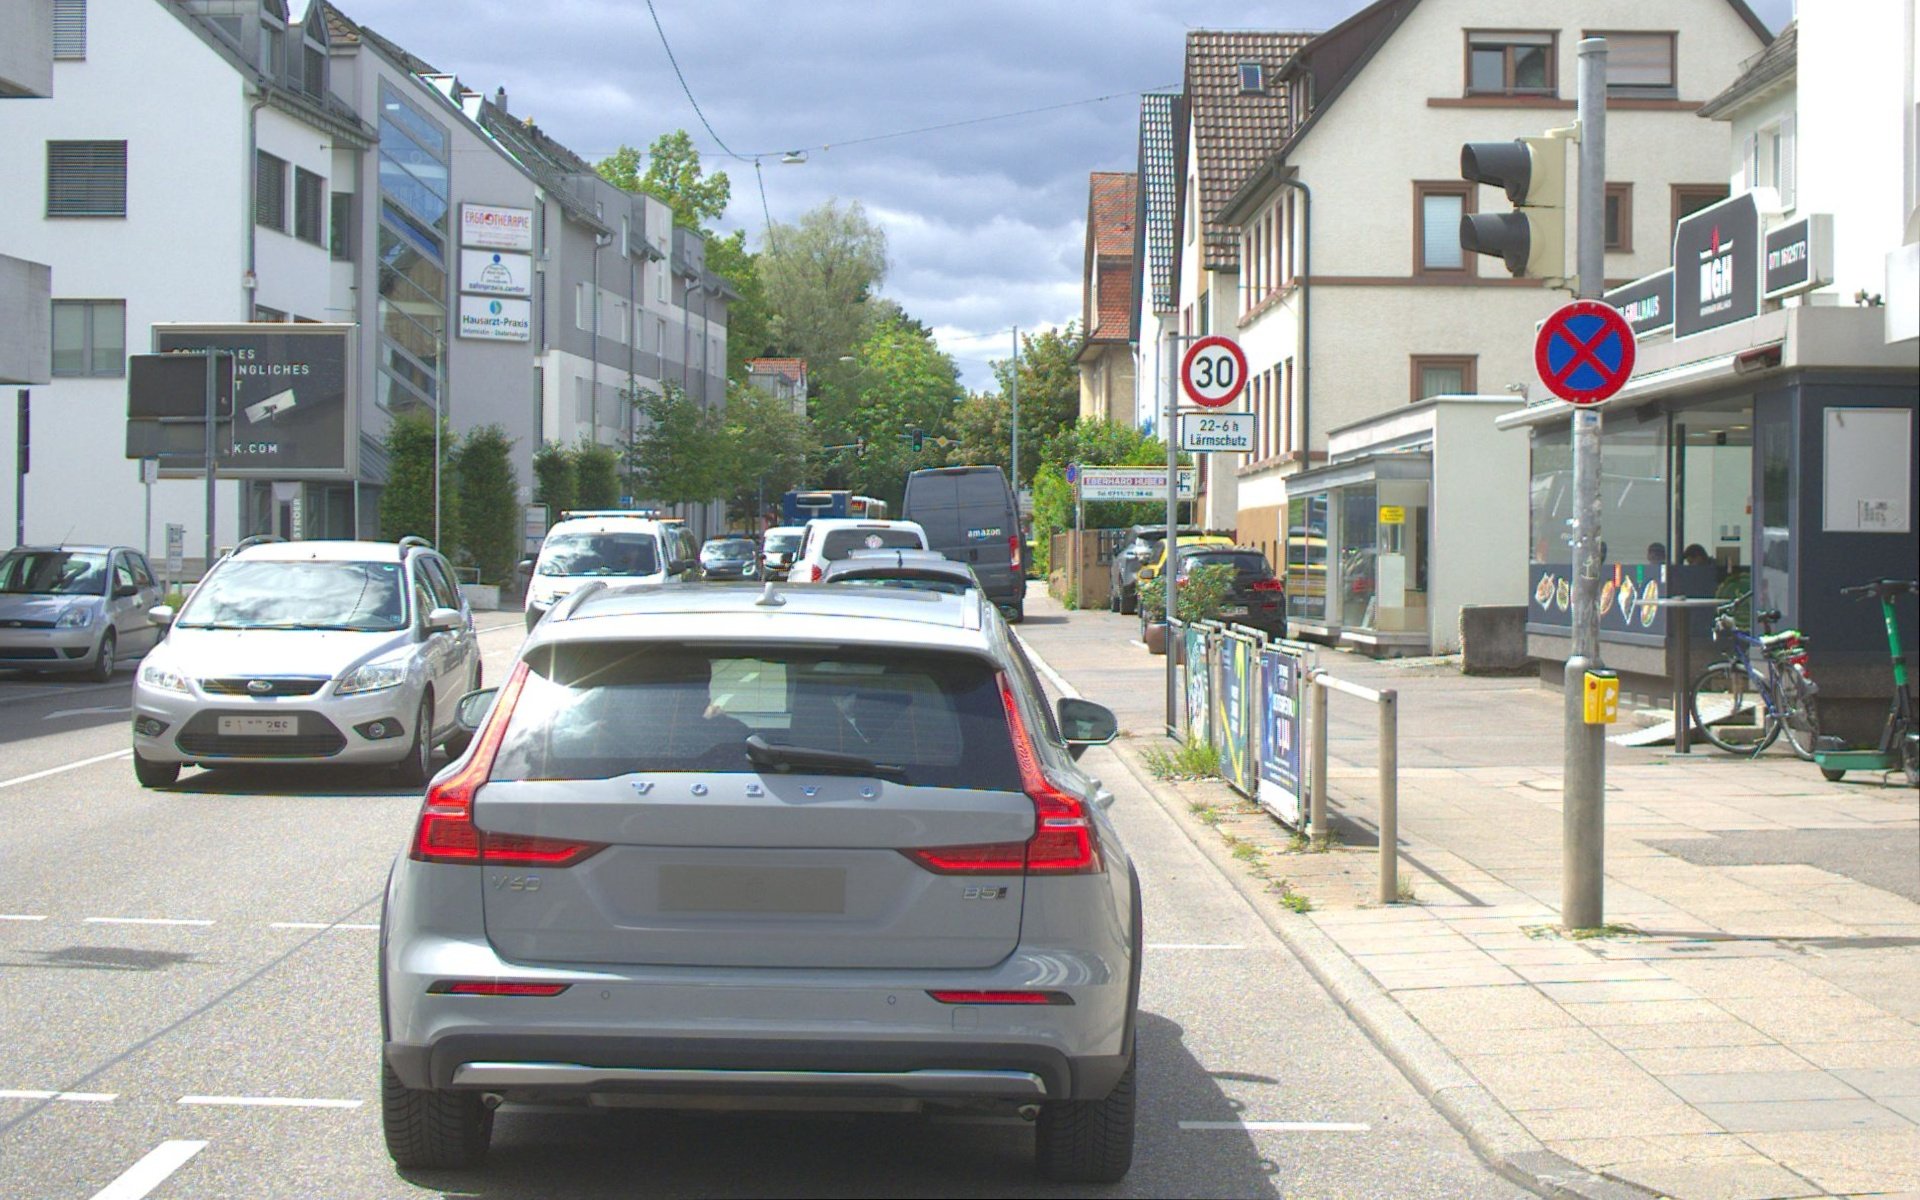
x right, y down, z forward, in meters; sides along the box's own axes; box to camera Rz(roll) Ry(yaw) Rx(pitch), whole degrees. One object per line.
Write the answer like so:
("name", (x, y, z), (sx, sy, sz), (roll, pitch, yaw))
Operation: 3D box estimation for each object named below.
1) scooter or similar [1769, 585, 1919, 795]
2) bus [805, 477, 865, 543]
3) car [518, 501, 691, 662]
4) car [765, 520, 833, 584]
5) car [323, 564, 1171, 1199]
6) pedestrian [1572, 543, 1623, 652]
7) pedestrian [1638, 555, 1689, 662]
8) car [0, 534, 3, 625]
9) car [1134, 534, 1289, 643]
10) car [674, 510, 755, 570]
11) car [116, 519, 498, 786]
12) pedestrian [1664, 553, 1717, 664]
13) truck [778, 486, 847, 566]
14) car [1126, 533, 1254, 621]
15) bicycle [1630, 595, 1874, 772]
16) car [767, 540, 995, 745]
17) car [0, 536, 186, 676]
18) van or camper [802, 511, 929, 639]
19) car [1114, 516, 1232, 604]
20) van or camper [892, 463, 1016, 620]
("scooter or similar", (5.560, 0.539, 21.238), (0.340, 1.249, 1.246), (-2, 1, -27))
("bus", (-5.215, -3.779, 144.258), (2.276, 2.659, 7.430), (0, 2, 0))
("car", (-4.489, -0.250, 43.885), (1.838, 1.911, 4.156), (1, 1, -1))
("car", (-4.792, -1.413, 102.802), (1.797, 1.810, 4.000), (1, 0, 0))
("car", (-0.515, 0.662, 9.514), (1.835, 1.481, 4.000), (1, 1, -1))
("pedestrian", (6.226, -0.028, 33.572), (0.414, 1.048, 0.368), (0, 1, -2))
("pedestrian", (6.952, 0.084, 33.983), (0.414, 1.048, 0.368), (0, 1, -2))
("car", (-9.996, 0.141, 31.471), (1.607, 1.538, 2.944), (2, 1, 0))
("car", (3.561, -0.146, 49.279), (1.710, 1.459, 4.000), (1, 0, -3))
("car", (-5.916, -1.471, 83.166), (1.762, 1.421, 4.001), (0, 2, -1))
("car", (-4.125, 0.268, 22.324), (1.668, 1.548, 4.215), (1, 1, 0))
("pedestrian", (6.999, 0.079, 32.933), (0.414, 1.048, 0.368), (0, 1, -2))
("truck", (-5.440, -2.753, 127.697), (2.276, 2.876, 7.079), (0, 1, 0))
("car", (3.890, -0.366, 58.757), (1.883, 1.411, 3.971), (1, 0, 0))
("bicycle", (5.544, 0.559, 24.230), (0.554, 1.140, 2.301), (-1, 1, -19))
("car", (-0.627, 0.293, 27.270), (1.650, 1.477, 3.607), (1, 1, -1))
("car", (-9.907, 0.029, 37.903), (1.755, 1.421, 3.862), (0, 2, 2))
("van or camper", (-1.423, -0.338, 52.040), (1.819, 1.828, 4.000), (1, -1, -1))
("car", (3.857, -0.705, 62.870), (1.883, 1.495, 3.971), (1, 0, 0))
("van or camper", (-0.107, -1.052, 60.884), (2.123, 2.677, 4.781), (0, 1, 0))
